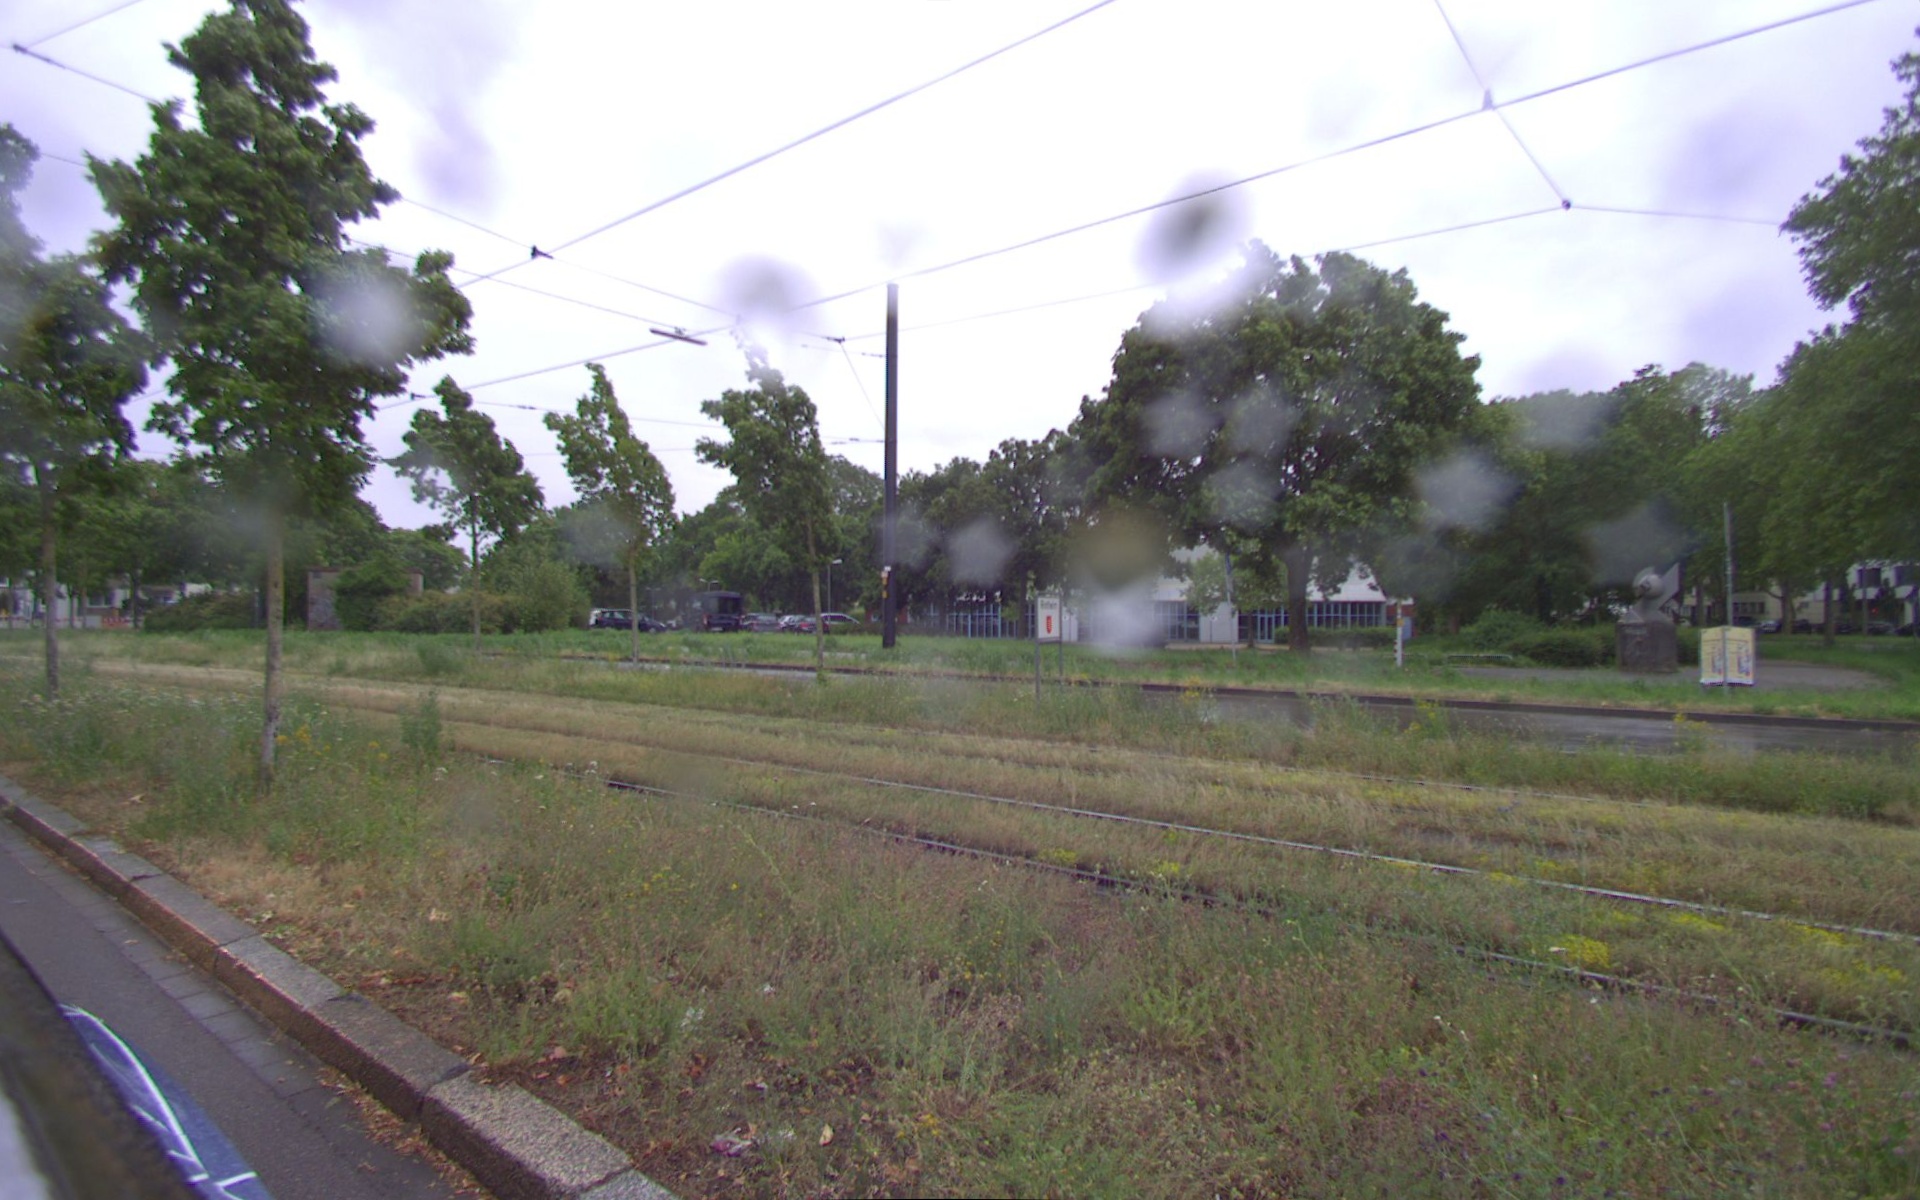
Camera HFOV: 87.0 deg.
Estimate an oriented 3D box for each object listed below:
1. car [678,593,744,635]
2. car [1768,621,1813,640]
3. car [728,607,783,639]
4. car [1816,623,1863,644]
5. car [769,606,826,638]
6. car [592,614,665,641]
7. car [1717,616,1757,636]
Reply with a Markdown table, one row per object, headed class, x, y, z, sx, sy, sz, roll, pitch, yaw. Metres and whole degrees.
| class | x | y | z | sx | sy | sz | roll | pitch | yaw |
| --- | --- | --- | --- | --- | --- | --- | --- | --- | --- |
| car | -12.832 | 0.706 | 51.936 | 2.273 | 2.029 | 5.134 | -1 | 0 | -25 |
| car | 82.979 | 3.032 | 101.154 | 1.982 | 1.796 | 3.979 | -1 | 0 | 16 |
| car | -10.914 | 1.182 | 53.709 | 1.726 | 1.542 | 4.865 | -1 | 0 | -25 |
| car | 81.658 | 3.111 | 94.056 | 1.986 | 1.796 | 3.972 | -1 | 0 | 21 |
| car | -8.798 | 1.155 | 54.379 | 2.026 | 1.584 | 5.032 | -1 | 0 | -21 |
| car | -20.295 | 1.649 | 61.898 | 4.110 | 1.494 | 1.789 | -1 | 0 | -23 |
| car | 86.343 | 2.841 | 112.513 | 2.108 | 2.104 | 3.982 | -1 | 0 | 14 |
